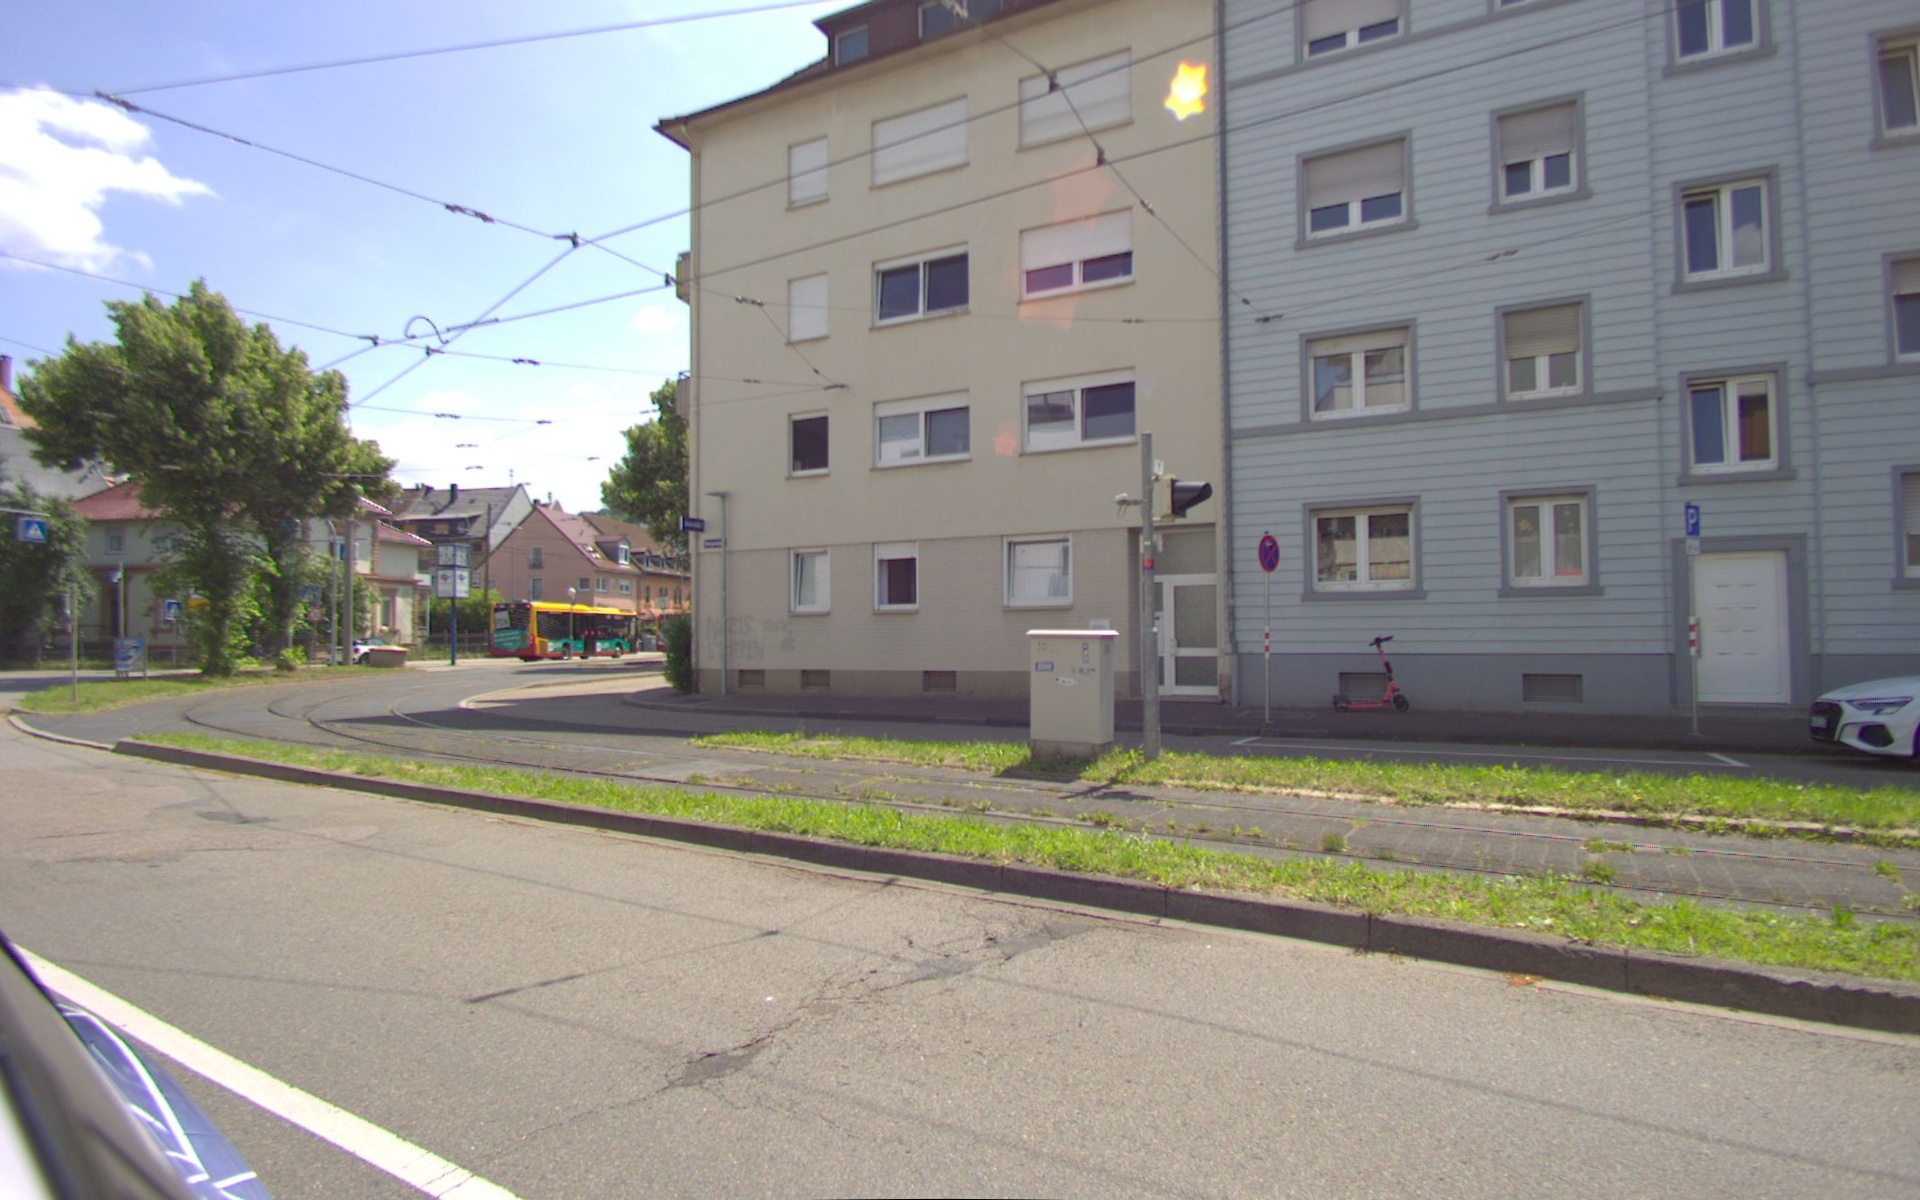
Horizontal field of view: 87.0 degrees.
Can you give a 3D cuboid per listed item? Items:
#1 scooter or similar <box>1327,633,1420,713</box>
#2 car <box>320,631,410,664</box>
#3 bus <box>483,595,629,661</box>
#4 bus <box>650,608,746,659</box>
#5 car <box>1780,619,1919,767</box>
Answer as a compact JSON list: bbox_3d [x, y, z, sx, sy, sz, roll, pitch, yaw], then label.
[{"bbox_3d":[6.683,1.167,16.353,1.314,1.232,0.634,-2,-1,27],"label":"scooter or similar"},{"bbox_3d":[-27.377,2.191,46.668,1.756,1.475,3.742,-1,-3,4],"label":"car"},{"bbox_3d":[-22.708,1.686,57.800,2.677,3.322,10.827,-2,-3,9],"label":"bus"},{"bbox_3d":[-19.879,2.622,77.816,2.666,3.635,12.175,-1,-2,8],"label":"bus"},{"bbox_3d":[11.344,0.936,10.216,4.352,1.463,1.917,-2,-5,26],"label":"car"}]
